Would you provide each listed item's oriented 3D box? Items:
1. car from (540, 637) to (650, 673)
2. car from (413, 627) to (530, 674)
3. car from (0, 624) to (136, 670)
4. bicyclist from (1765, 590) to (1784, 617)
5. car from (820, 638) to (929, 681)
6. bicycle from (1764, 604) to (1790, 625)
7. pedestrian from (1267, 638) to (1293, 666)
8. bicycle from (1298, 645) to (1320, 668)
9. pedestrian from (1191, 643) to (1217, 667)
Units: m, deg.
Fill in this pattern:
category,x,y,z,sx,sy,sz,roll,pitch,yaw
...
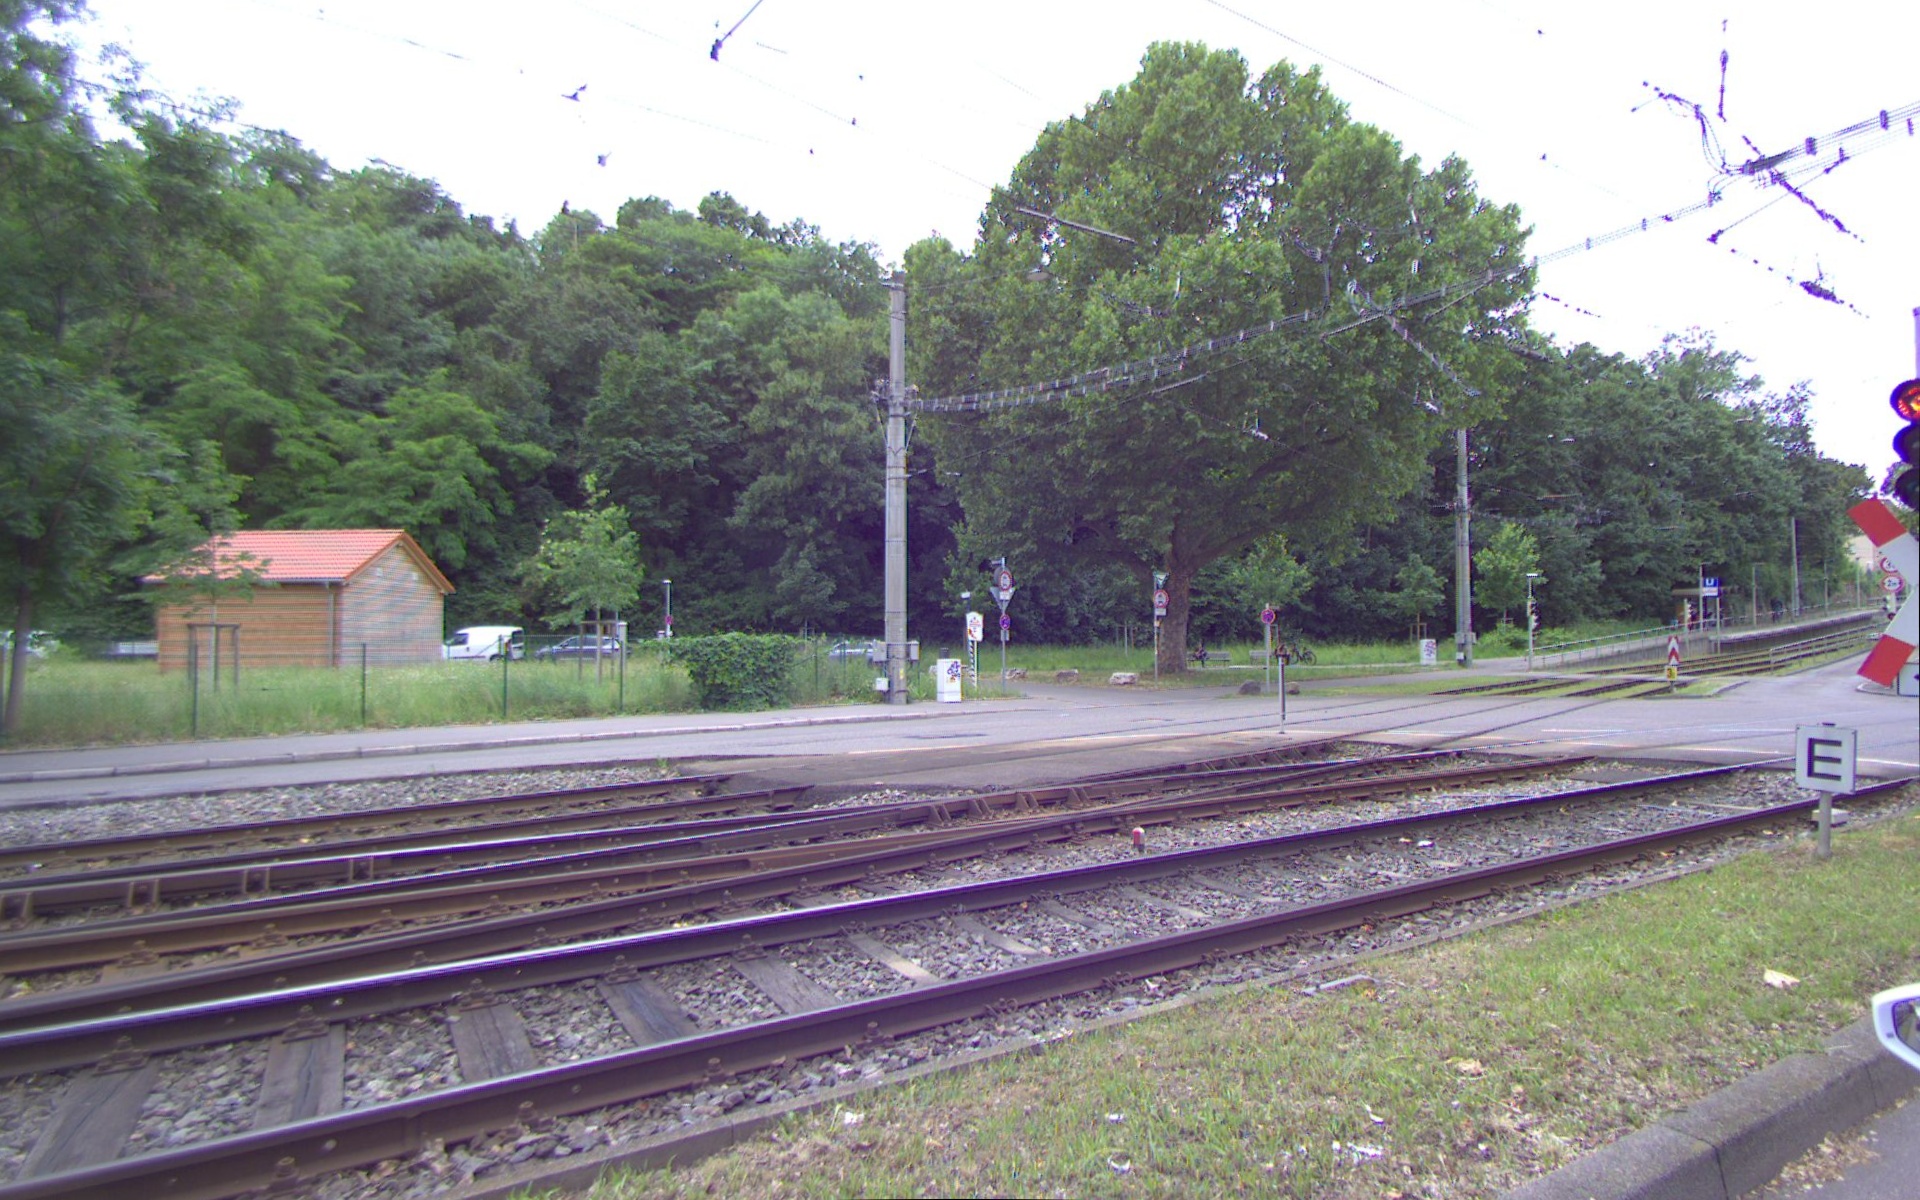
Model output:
category,x,y,z,sx,sy,sz,roll,pitch,yaw
car,-16.504,2.476,45.659,4.320,1.603,1.999,0,-2,-6
car,-22.085,2.276,45.540,4.320,2.040,1.999,0,-2,-5
car,-34.448,1.808,38.563,3.921,1.683,2.000,0,-2,0
bicyclist,58.304,0.234,71.895,1.042,1.873,0.815,-2,-1,-38
car,-3.973,2.783,47.367,4.985,1.913,2.355,0,-2,-2
bicycle,58.613,1.035,72.078,2.970,1.361,0.817,-2,-1,-39
pedestrian,15.595,2.529,48.956,1.035,1.284,1.117,2,-1,8
bicycle,16.897,2.714,48.682,0.662,1.025,1.654,2,-1,8
pedestrian,11.720,2.648,48.330,1.059,1.110,0.906,2,-1,5
